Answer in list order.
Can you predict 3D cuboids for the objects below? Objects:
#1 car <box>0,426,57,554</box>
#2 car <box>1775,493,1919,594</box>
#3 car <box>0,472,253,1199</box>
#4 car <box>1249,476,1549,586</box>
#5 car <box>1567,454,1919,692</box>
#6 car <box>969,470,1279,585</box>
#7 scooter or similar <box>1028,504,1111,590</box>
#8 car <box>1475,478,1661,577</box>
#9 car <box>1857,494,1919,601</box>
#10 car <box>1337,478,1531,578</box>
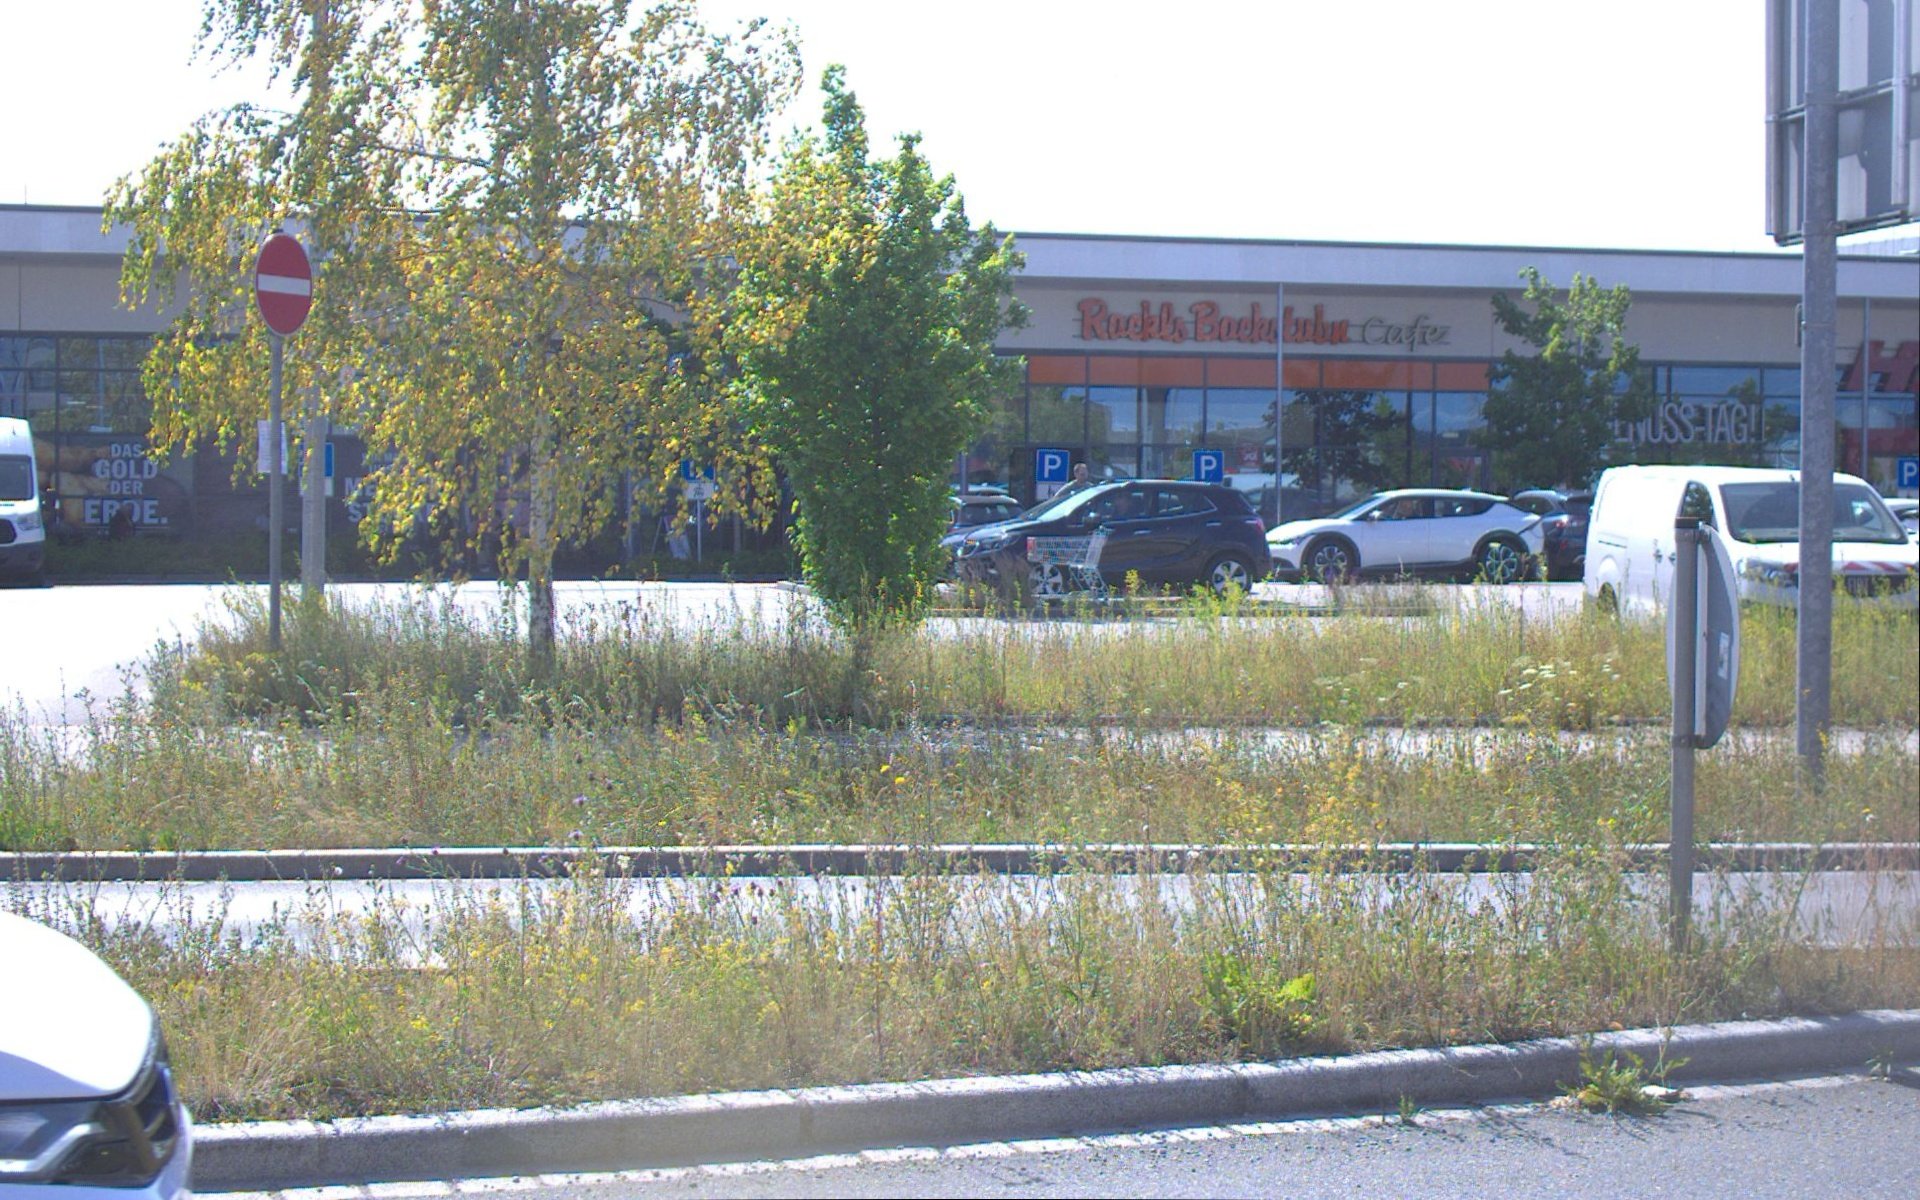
[{"bbox_3d":[-15.996,-1.806,55.738,2.222,1.970,6.699,0,2,-18],"label":"car"},{"bbox_3d":[13.735,-0.812,49.071,3.718,1.386,1.732,0,2,-17],"label":"car"},{"bbox_3d":[-2.361,0.600,3.924,2.990,1.484,1.480,1,4,-10],"label":"car"},{"bbox_3d":[7.153,-1.130,56.168,4.470,1.700,1.875,1,1,-11],"label":"car"},{"bbox_3d":[7.407,-0.324,31.845,2.080,2.006,5.230,1,2,-6],"label":"car"},{"bbox_3d":[2.180,-0.976,46.048,3.792,1.503,1.732,0,2,-14],"label":"car"},{"bbox_3d":[1.407,-0.685,44.155,0.943,1.075,0.652,0,2,-10],"label":"scooter or similar"},{"bbox_3d":[10.972,-1.336,62.321,1.993,1.701,4.002,0,2,-11],"label":"car"},{"bbox_3d":[14.125,-0.711,46.049,3.718,1.386,1.732,0,2,-17],"label":"car"},{"bbox_3d":[8.426,-1.314,61.432,1.993,1.701,4.002,0,2,-15],"label":"car"}]
